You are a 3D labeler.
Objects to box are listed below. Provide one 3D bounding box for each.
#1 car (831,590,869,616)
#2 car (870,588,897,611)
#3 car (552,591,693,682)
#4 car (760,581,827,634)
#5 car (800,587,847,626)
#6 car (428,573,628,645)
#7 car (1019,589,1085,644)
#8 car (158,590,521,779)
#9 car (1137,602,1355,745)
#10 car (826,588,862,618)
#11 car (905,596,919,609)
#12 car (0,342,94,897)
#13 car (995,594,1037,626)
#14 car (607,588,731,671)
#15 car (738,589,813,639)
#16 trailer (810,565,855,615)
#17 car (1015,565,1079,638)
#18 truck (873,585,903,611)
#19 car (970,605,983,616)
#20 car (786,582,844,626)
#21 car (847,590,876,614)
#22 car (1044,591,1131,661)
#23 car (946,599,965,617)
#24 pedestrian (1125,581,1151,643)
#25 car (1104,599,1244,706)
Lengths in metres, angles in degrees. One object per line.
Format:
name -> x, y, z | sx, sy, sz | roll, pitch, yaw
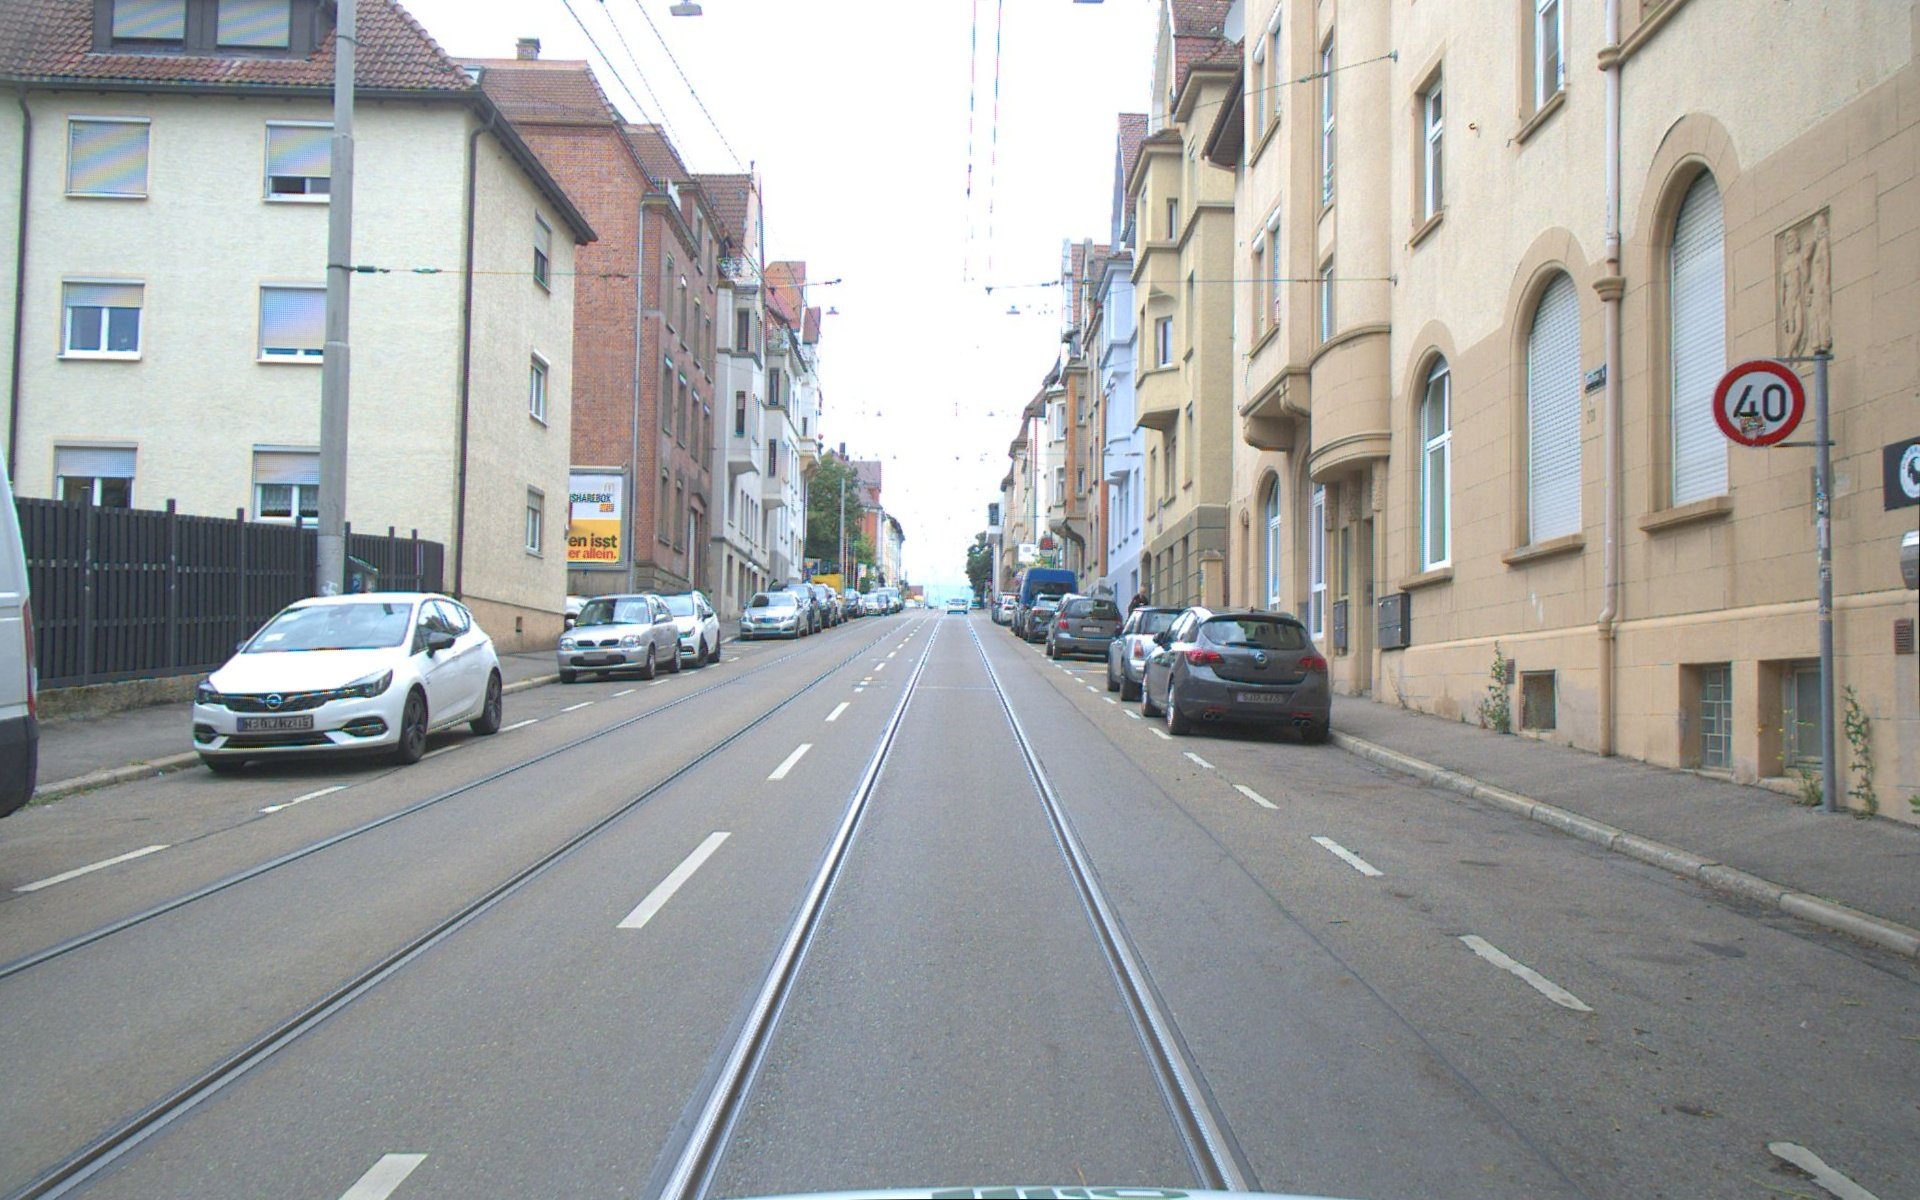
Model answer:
car -> -6.195, 0.152, 93.335 | 1.743, 1.381, 4.292 | 1, 0, 1
car -> -5.857, -0.041, 127.086 | 1.708, 1.766, 4.520 | -1, 0, 1
car -> -5.775, 0.582, 28.685 | 1.567, 1.392, 3.807 | -3, 1, 1
car -> -5.801, 0.239, 57.975 | 1.790, 1.748, 4.913 | -1, 0, 0
car -> -5.935, 0.252, 72.331 | 1.662, 1.621, 4.268 | -1, 0, 0
car -> -11.940, 0.227, 45.983 | 5.072, 1.850, 1.939 | -1, 0, -4
car -> 2.925, 0.518, 53.343 | 1.744, 1.557, 4.191 | 4, 0, -1
car -> -5.478, 0.654, 15.228 | 1.684, 1.427, 4.313 | -2, 0, 0
car -> 3.273, 0.799, 19.728 | 1.802, 1.427, 4.167 | 3, 0, 0
car -> -6.156, 0.156, 88.236 | 1.662, 1.494, 3.023 | -1, 0, 0
car -> -6.398, 0.331, 220.312 | 1.817, 1.635, 4.296 | 1, 0, 0
car -> -5.573, 0.137, 5.574 | 2.115, 2.652, 6.217 | -2, 0, -2
car -> 2.689, 0.487, 80.526 | 1.715, 1.414, 4.306 | 3, 0, -1
car -> -5.779, 0.539, 33.338 | 1.791, 1.454, 4.625 | -3, 1, -2
car -> -5.798, 0.403, 52.410 | 1.790, 1.454, 4.839 | -1, 1, 0
trailer -> -5.885, -0.464, 76.511 | 1.712, 2.193, 4.071 | -1, 0, 0
car -> 3.044, 0.060, 58.715 | 1.953, 2.418, 5.055 | 1, 0, 0
truck -> -6.543, -0.173, 152.016 | 2.233, 2.226, 8.025 | 1, 0, 1
car -> 2.366, 1.512, 238.477 | 1.952, 1.590, 4.290 | 1, 0, 0
car -> -5.790, 0.135, 66.429 | 1.835, 1.693, 4.892 | -1, 0, 0
car -> -6.880, 0.146, 115.898 | 1.662, 1.583, 3.850 | 1, 0, 1
car -> 3.126, 0.608, 41.265 | 1.790, 1.545, 4.028 | 3, 1, 0
car -> -0.403, 0.710, 148.898 | 1.638, 1.539, 3.796 | 1, 0, -1
pedestrian -> 5.058, 0.342, 47.081 | 0.530, 1.711, 0.515 | -3, -2, -9
car -> 3.277, 0.763, 25.899 | 1.660, 1.428, 3.667 | 3, 1, 0
